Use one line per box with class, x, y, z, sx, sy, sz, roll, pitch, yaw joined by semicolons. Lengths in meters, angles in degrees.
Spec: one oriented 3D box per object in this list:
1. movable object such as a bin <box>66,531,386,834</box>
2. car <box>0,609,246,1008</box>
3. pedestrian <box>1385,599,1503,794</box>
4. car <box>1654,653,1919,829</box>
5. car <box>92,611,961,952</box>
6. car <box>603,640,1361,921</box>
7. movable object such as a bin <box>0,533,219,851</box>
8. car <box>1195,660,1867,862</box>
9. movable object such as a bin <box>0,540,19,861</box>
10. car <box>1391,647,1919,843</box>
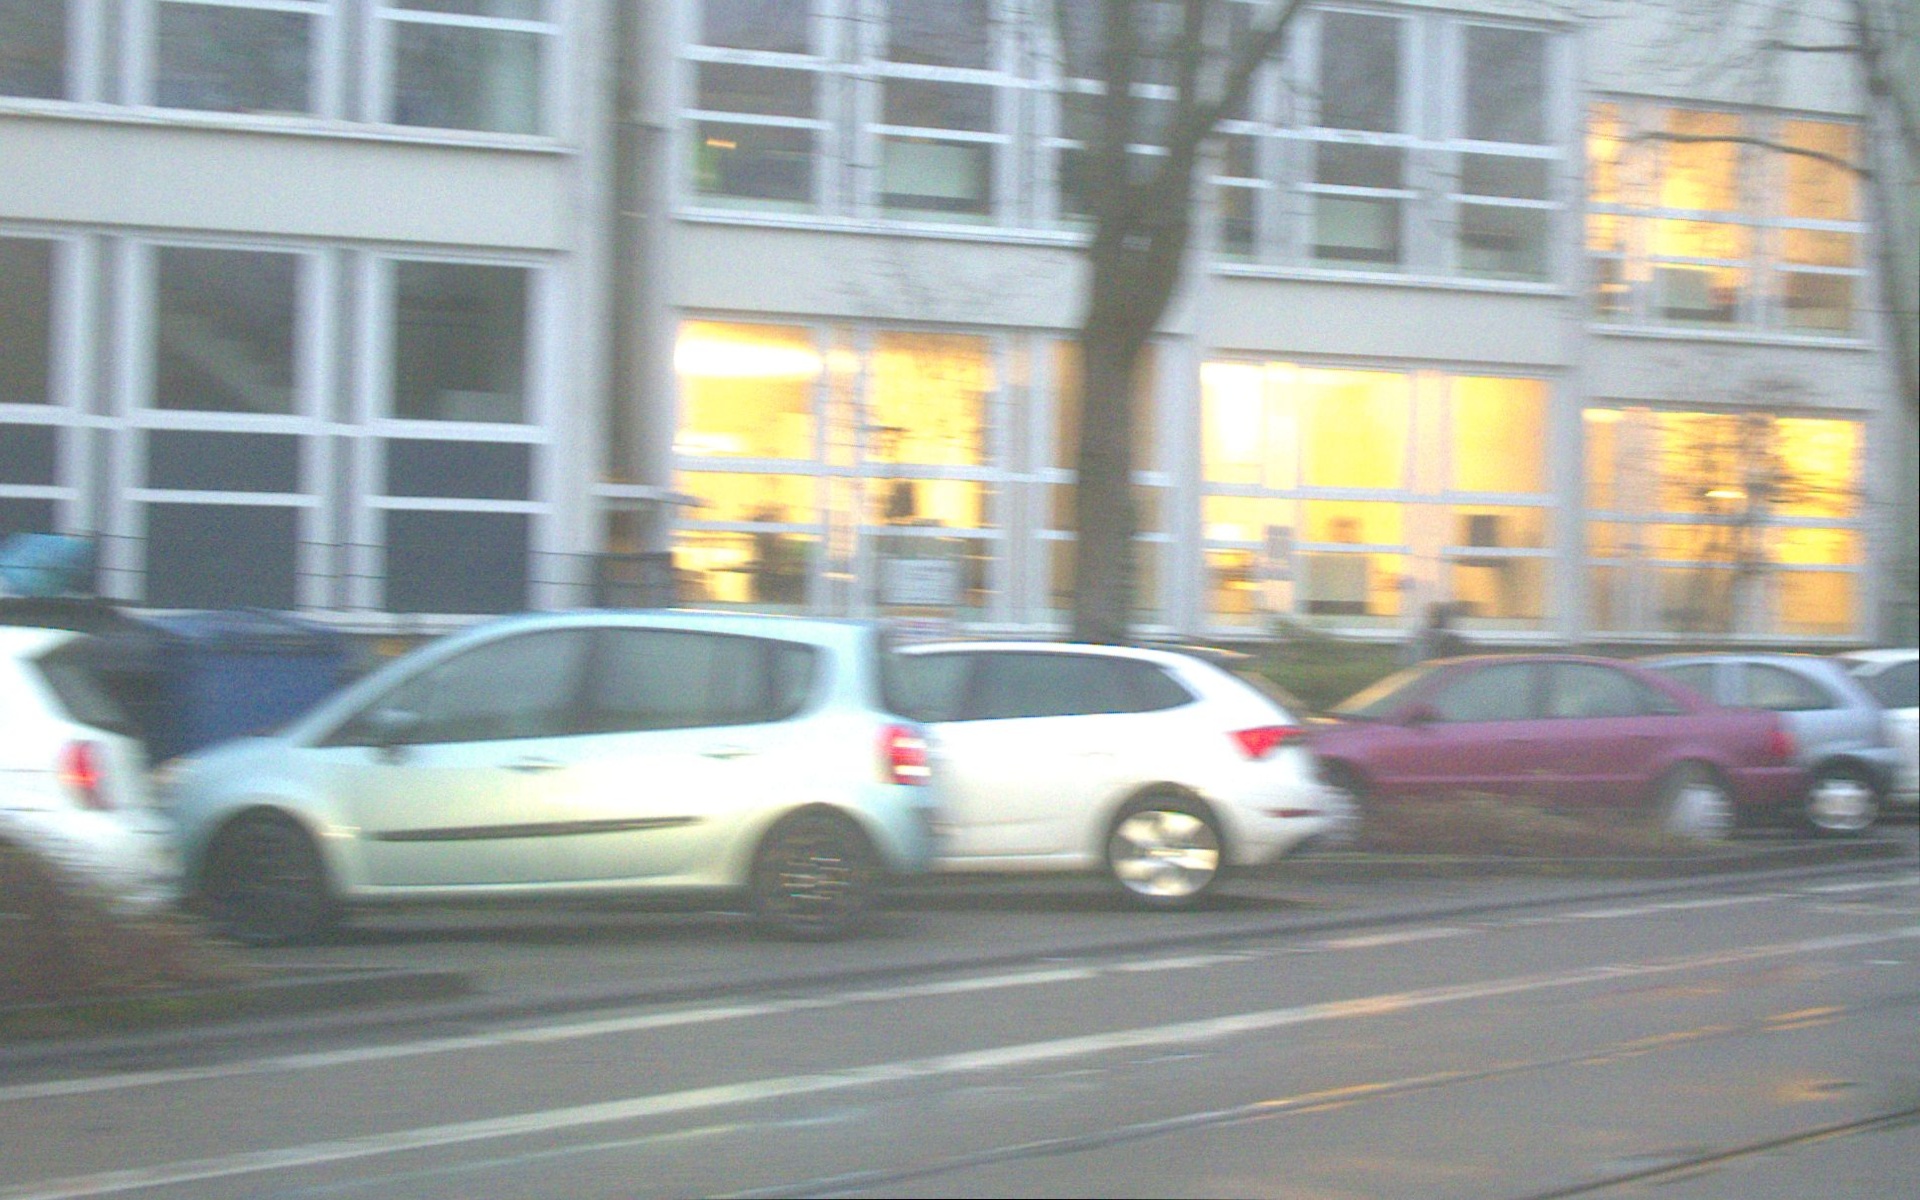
movable object such as a bin;-4.711;0.496;22.072;1.573;1.854;1.314;0;1;41
car;-4.993;0.810;14.099;3.863;1.546;1.693;0;0;-5
pedestrian;4.235;0.827;30.069;0.598;1.671;0.971;0;0;40
car;8.025;1.169;29.201;3.839;1.418;1.737;0;0;-6
car;-2.016;0.836;16.689;3.986;1.558;1.737;0;0;-2
car;0.192;0.955;18.870;3.988;1.439;1.736;0;-1;7
movable object such as a bin;-5.599;0.526;21.055;1.573;1.854;1.390;0;1;41
car;3.966;1.101;24.202;4.332;1.347;1.750;0;-1;-8
movable object such as a bin;-6.499;0.589;19.989;1.573;1.854;1.314;0;1;41
car;5.388;1.105;26.694;3.988;1.458;1.736;0;-1;5
